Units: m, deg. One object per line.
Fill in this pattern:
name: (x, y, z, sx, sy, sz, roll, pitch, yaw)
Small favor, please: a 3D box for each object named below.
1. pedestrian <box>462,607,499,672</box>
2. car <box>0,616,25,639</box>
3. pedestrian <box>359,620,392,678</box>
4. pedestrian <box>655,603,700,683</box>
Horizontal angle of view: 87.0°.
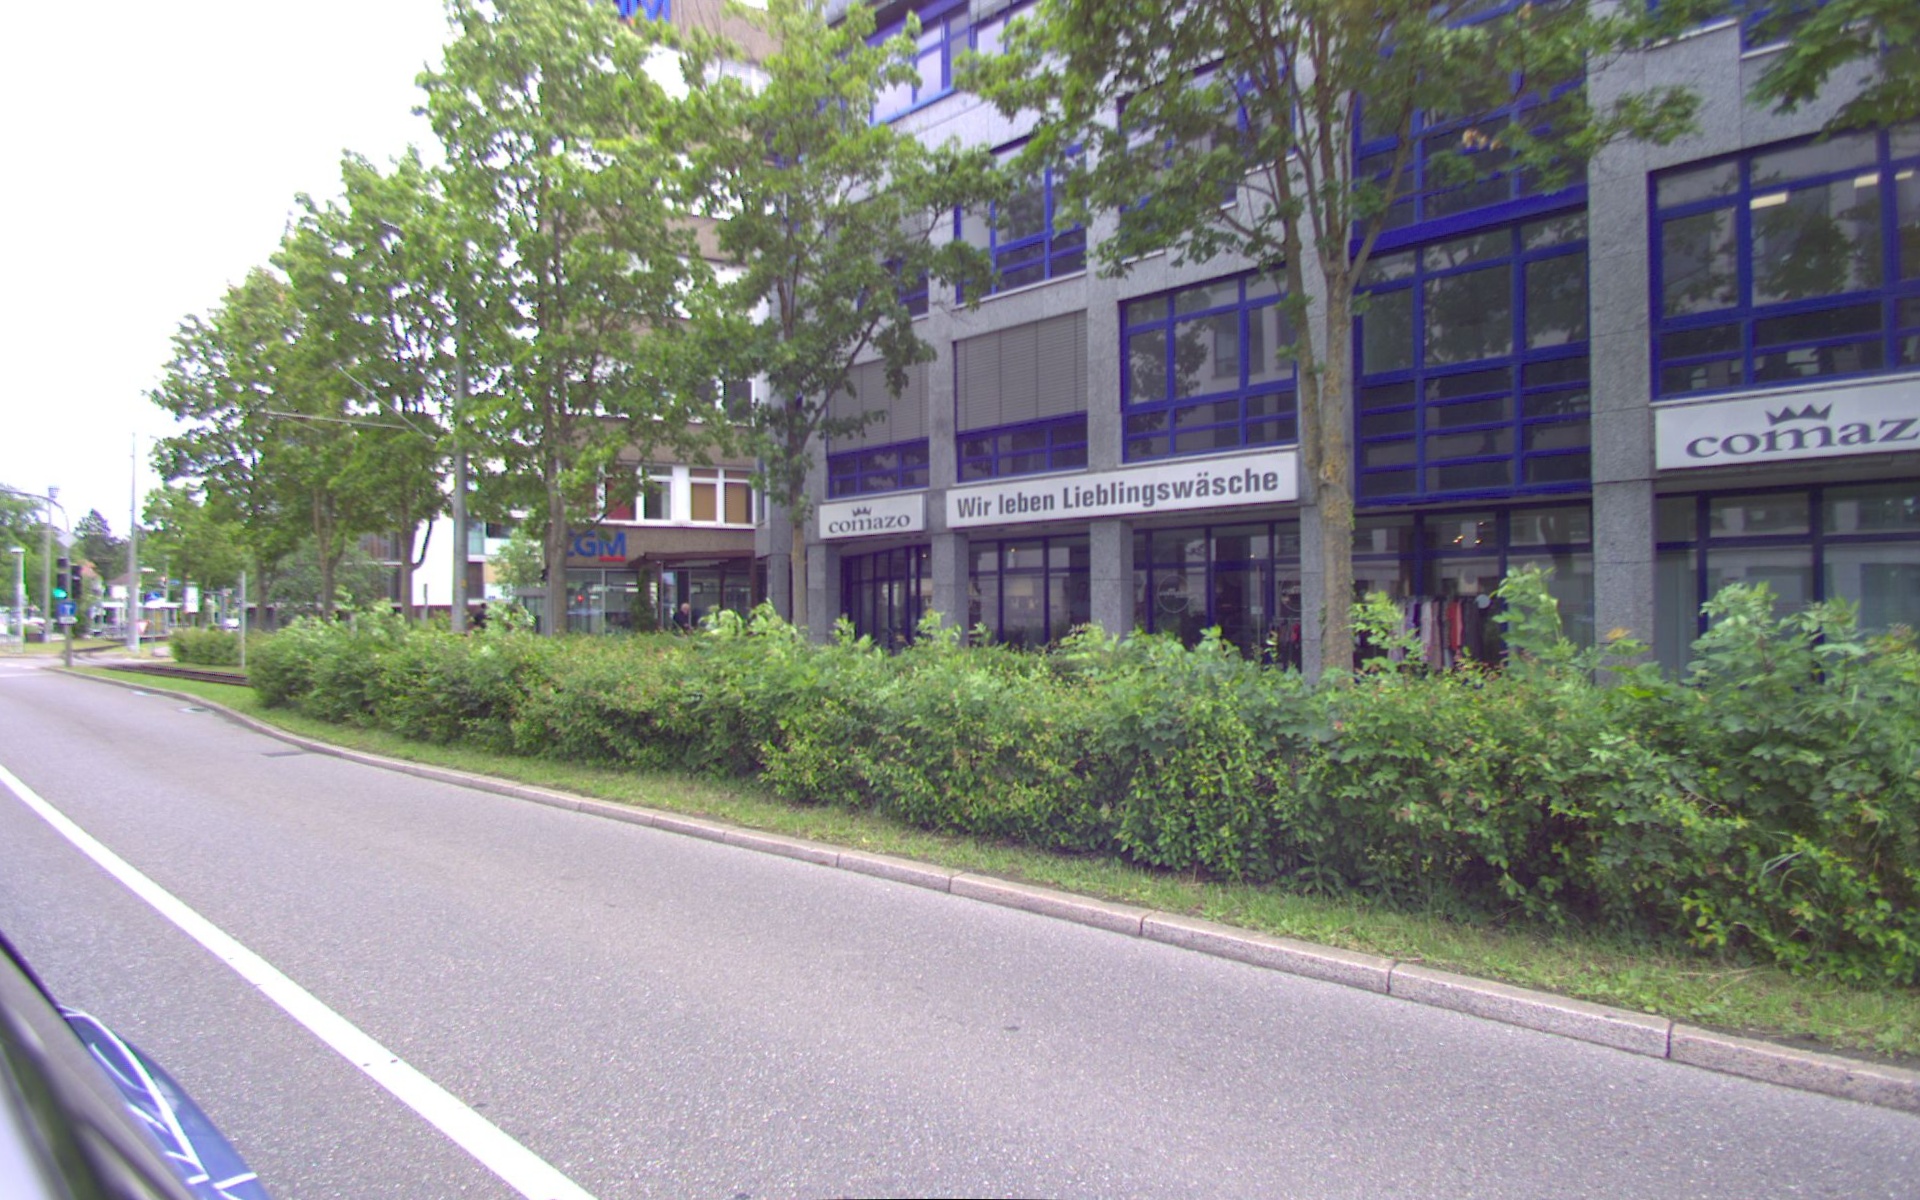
pedestrian: (-14.552, 1.172, 30.725, 0.731, 1.938, 0.805, -1, 0, 40)
car: (-89.480, 2.563, 94.590, 1.965, 2.029, 4.013, 0, 0, -25)
pedestrian: (-18.737, 1.542, 32.429, 0.730, 1.819, 0.672, -1, 0, 37)
pedestrian: (-6.926, 1.034, 24.823, 0.731, 1.908, 0.766, -1, 0, 40)
